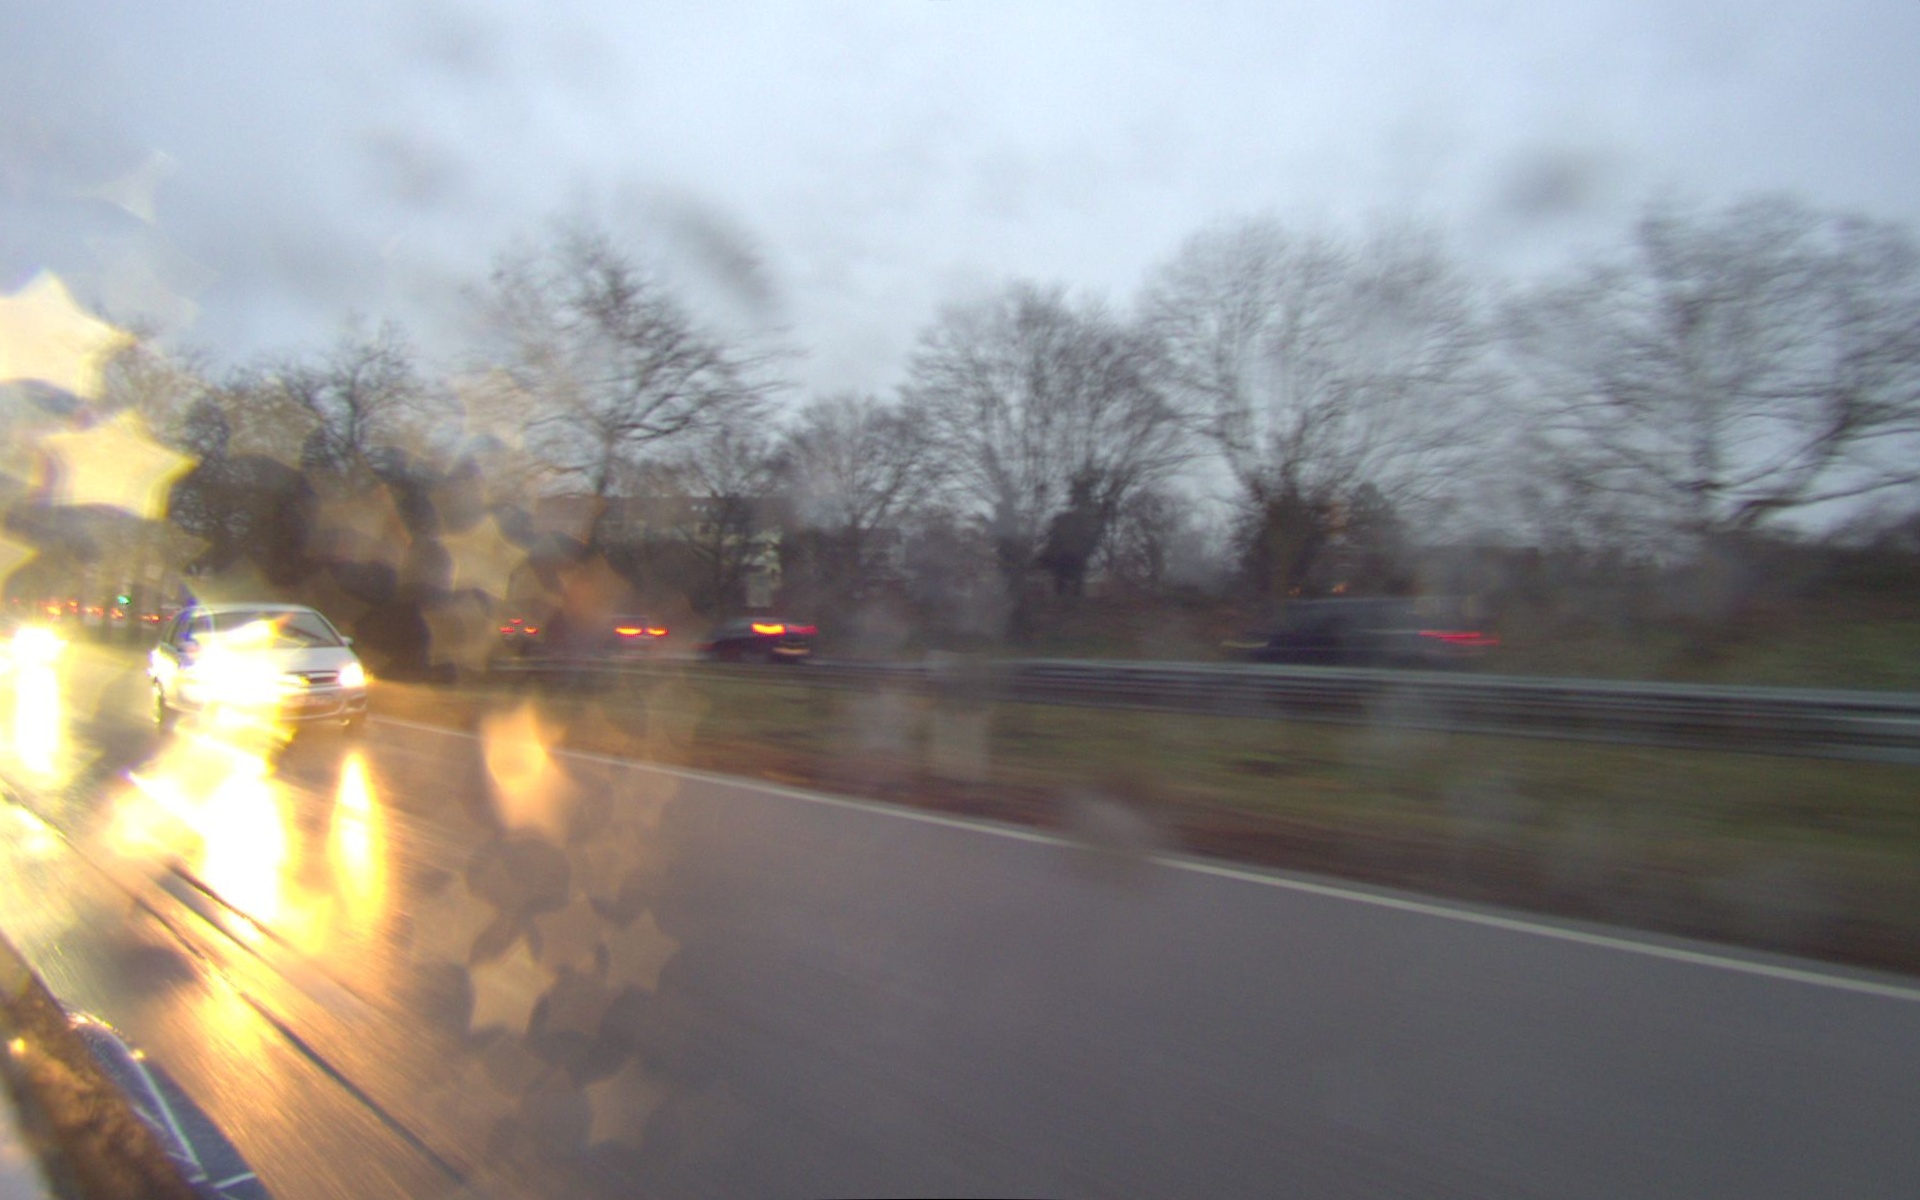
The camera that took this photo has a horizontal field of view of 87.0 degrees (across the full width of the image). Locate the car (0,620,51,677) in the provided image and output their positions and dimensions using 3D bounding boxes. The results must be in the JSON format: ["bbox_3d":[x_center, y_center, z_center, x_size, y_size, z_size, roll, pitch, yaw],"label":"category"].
[{"bbox_3d":[-28.393,1.383,29.801,4.145,1.542,2.000,0,-1,42],"label":"car"}]

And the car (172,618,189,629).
[{"bbox_3d":[-107.459,3.194,139.469,1.727,1.405,4.306,1,-1,-40],"label":"car"}]

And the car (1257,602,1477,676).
[{"bbox_3d":[9.785,0.877,24.546,4.677,1.621,1.766,0,-1,39],"label":"car"}]

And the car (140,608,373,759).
[{"bbox_3d":[-9.131,0.918,12.990,1.741,1.611,4.167,1,-1,-45],"label":"car"}]

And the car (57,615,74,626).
[{"bbox_3d":[-130.815,3.017,148.000,4.001,1.514,1.552,0,0,44],"label":"car"}]

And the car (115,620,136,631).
[{"bbox_3d":[-106.222,3.204,128.783,3.957,1.364,1.630,0,-1,44],"label":"car"}]

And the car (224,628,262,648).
[{"bbox_3d":[-55.217,2.904,77.919,3.979,1.436,1.729,0,-1,44],"label":"car"}]

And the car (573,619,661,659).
[{"bbox_3d":[-14.691,1.612,43.198,4.599,1.577,1.630,0,-1,44],"label":"car"}]

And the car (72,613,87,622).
[{"bbox_3d":[-140.788,2.818,161.793,3.958,1.338,1.520,0,-1,44],"label":"car"}]

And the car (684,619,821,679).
[{"bbox_3d":[-6.054,1.355,29.237,1.763,1.545,4.381,1,-1,-45],"label":"car"}]

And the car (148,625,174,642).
[{"bbox_3d":[-83.576,3.451,105.862,3.982,1.694,1.599,-1,-1,44],"label":"car"}]
